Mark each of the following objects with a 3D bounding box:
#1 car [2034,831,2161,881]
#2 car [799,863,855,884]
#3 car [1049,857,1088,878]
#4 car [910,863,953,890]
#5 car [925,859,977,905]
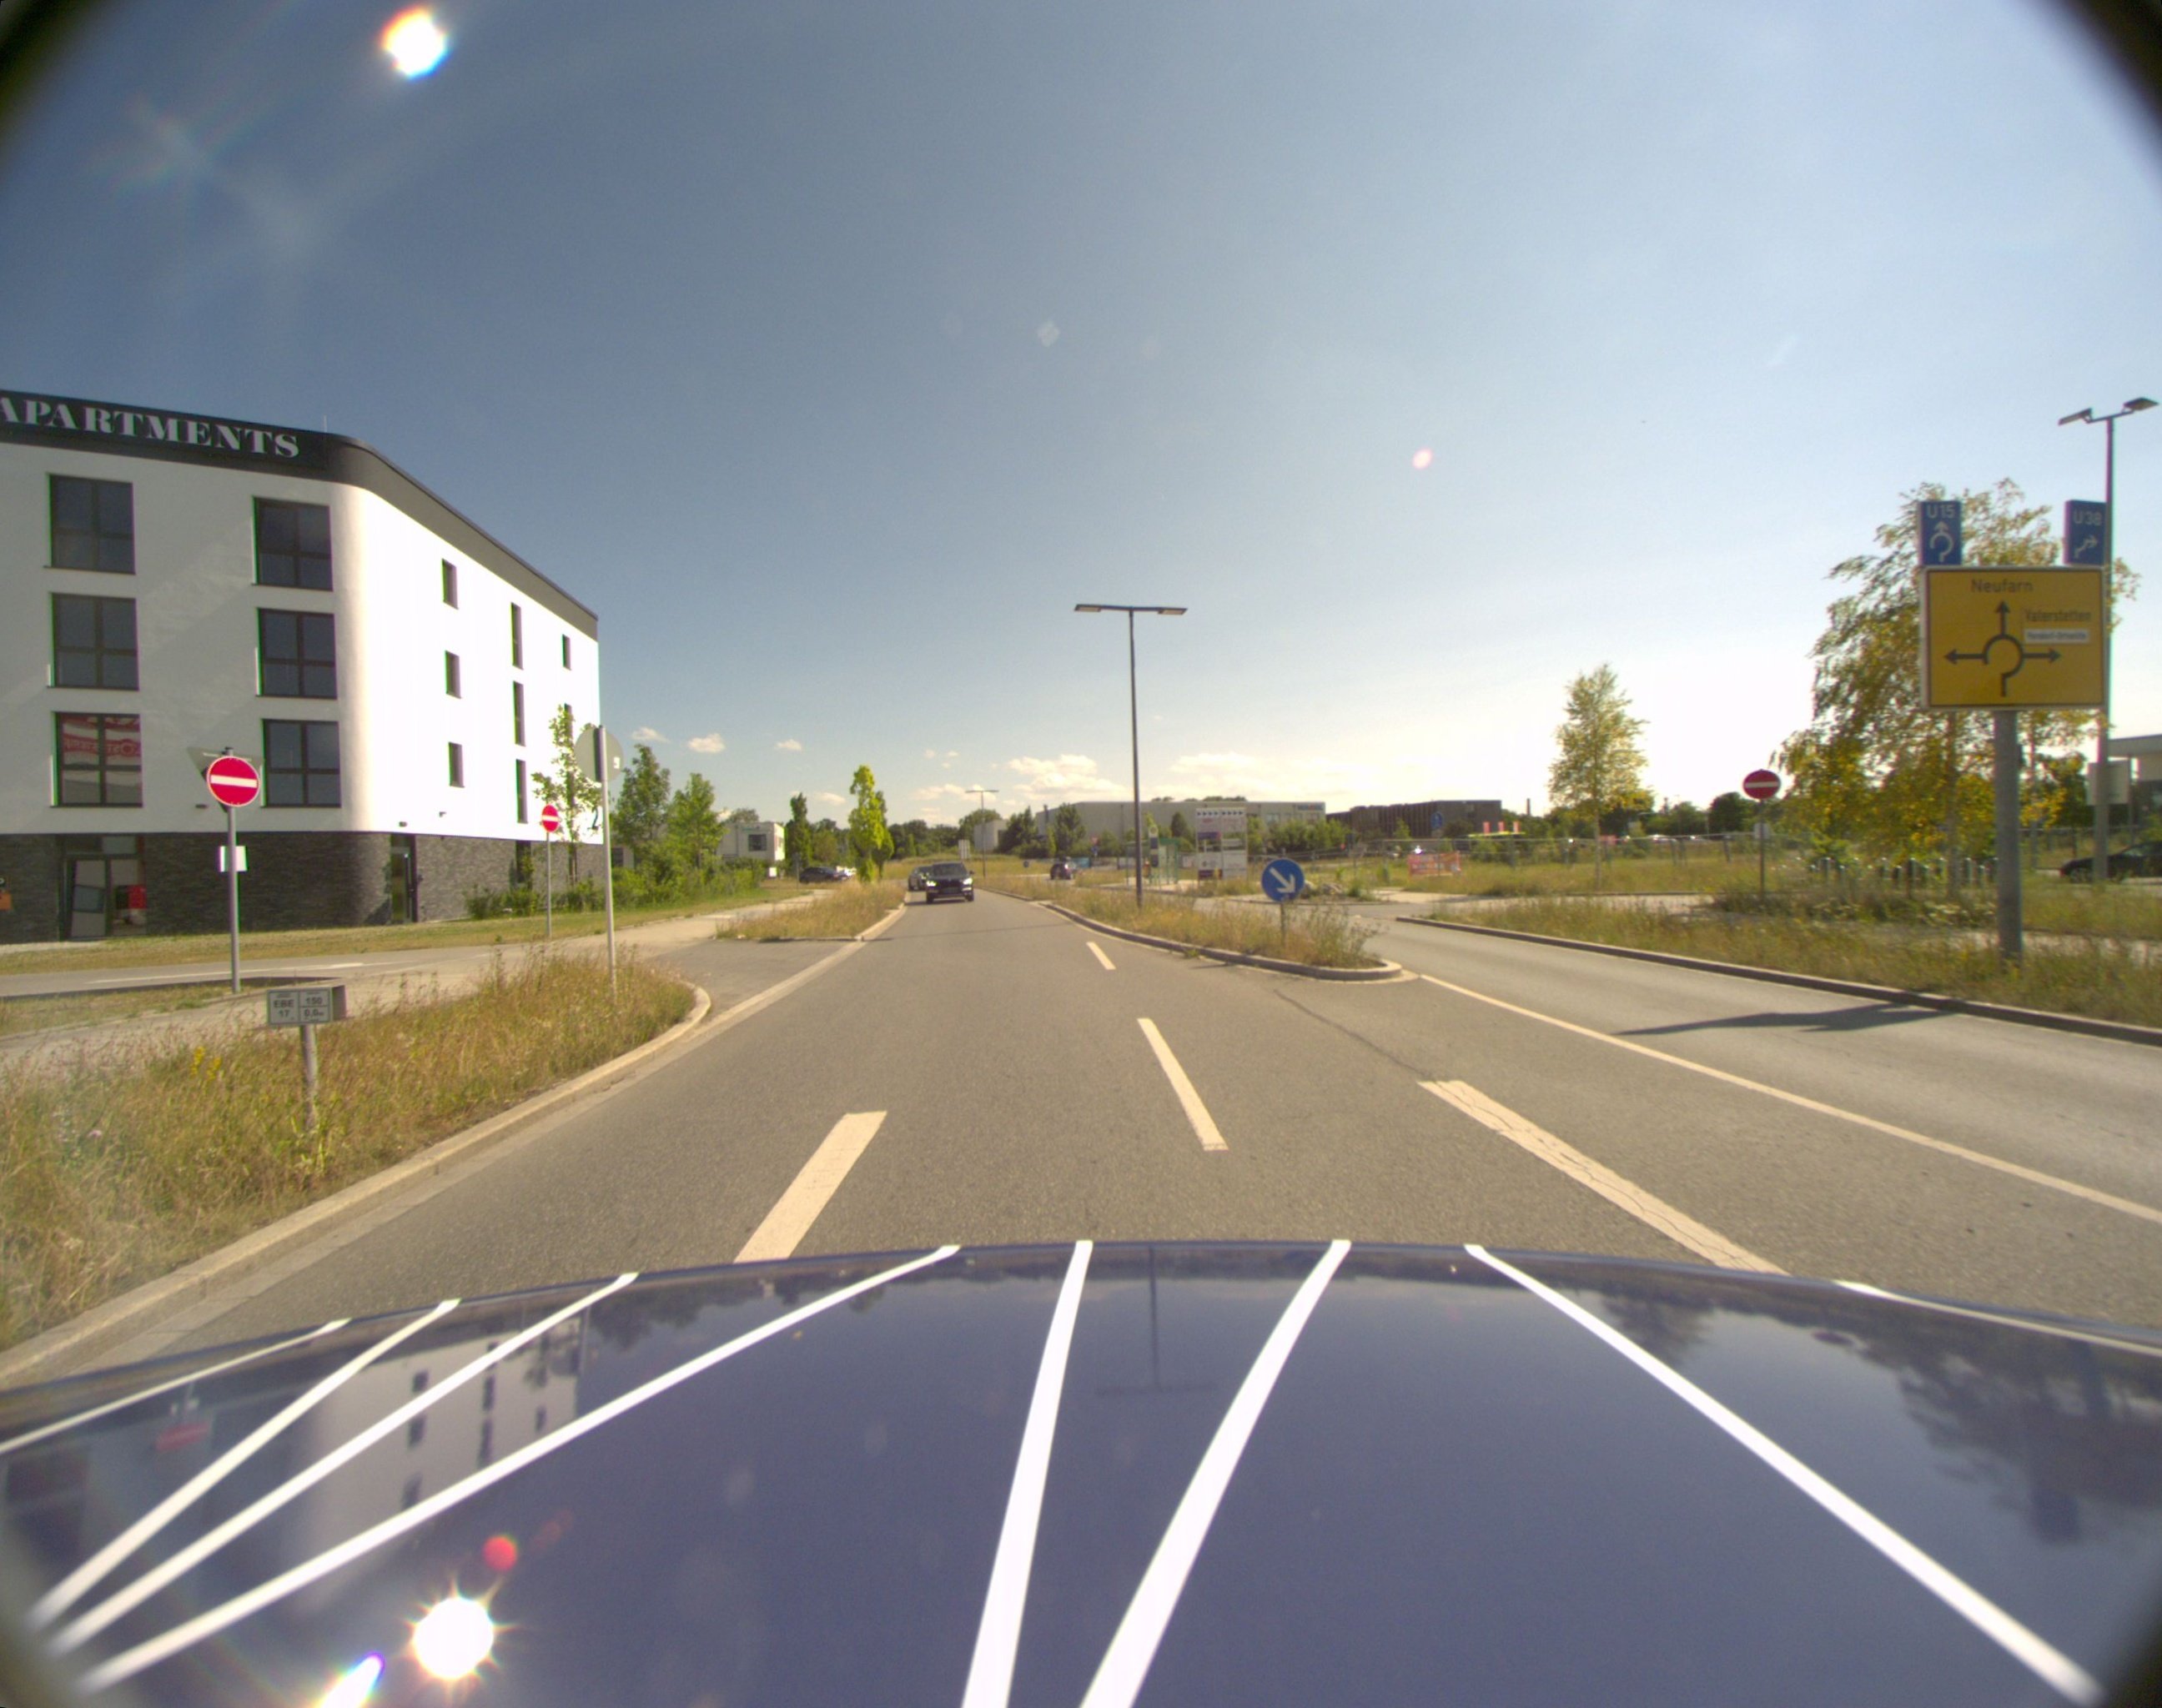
[{"bbox_3d":[38.128,0.059,27.236,2.284,1.678,4.413,-2,1,-17],"label":"car"},{"bbox_3d":[-21.733,1.691,65.027,4.371,1.678,1.760,-1,1,22],"label":"car"},{"bbox_3d":[-1.008,1.086,64.233,1.754,1.597,4.529,-1,0,21],"label":"car"},{"bbox_3d":[-10.233,1.545,51.741,2.117,1.633,4.770,-2,-1,-20],"label":"car"},{"bbox_3d":[-5.297,1.136,31.441,1.902,1.669,4.464,-2,-1,-8],"label":"car"}]
